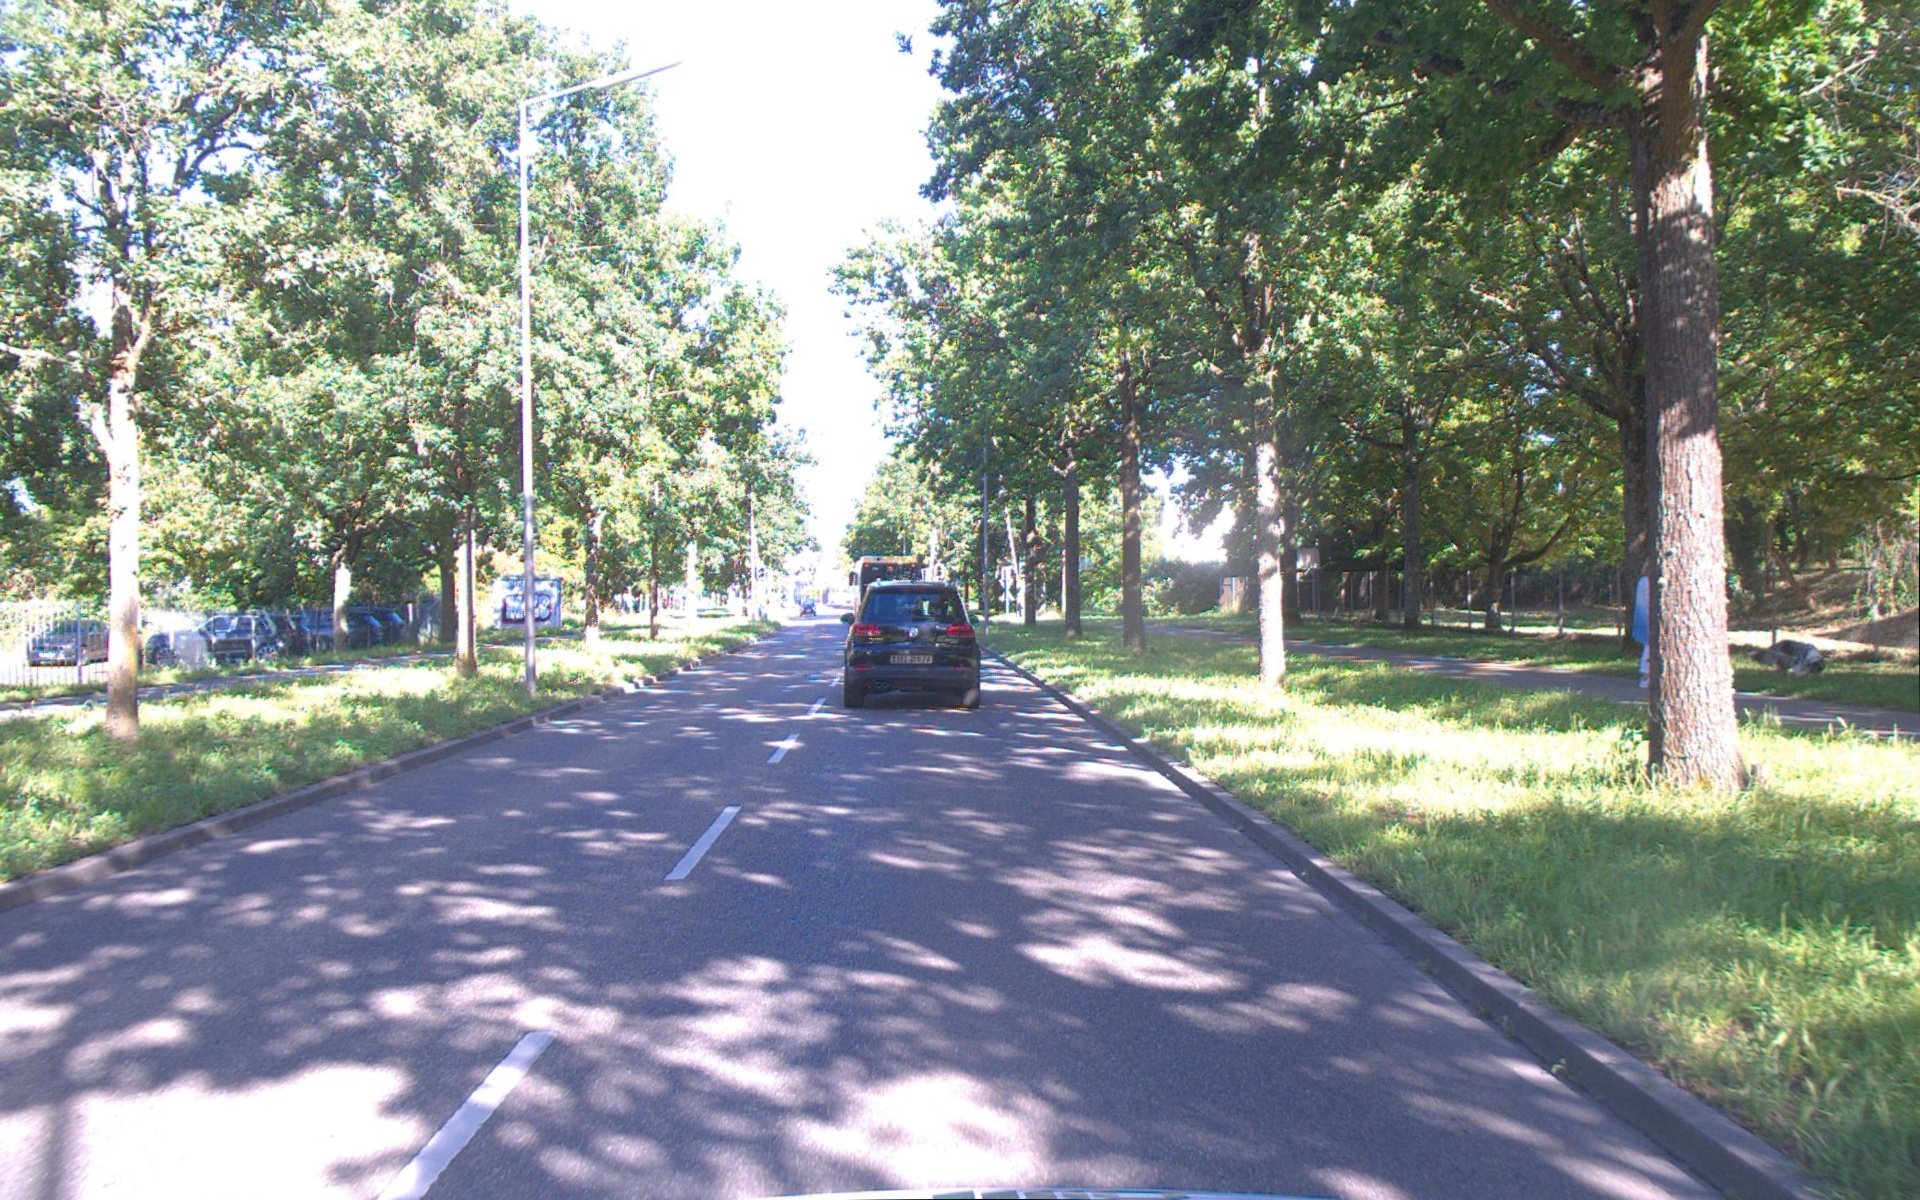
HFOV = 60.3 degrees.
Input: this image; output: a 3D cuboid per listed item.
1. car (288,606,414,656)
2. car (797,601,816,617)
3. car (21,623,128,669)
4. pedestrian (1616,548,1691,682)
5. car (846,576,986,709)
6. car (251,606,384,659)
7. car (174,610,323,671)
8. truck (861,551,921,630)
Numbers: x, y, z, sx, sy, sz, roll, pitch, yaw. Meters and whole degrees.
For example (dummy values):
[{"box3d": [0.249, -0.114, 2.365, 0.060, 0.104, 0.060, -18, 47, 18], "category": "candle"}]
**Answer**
[{"box3d": [-23.191, 1.170, 63.149, 4.110, 1.833, 1.997, 1, 0, -7], "category": "car"}, {"box3d": [-15.220, 0.908, 164.485, 1.533, 1.531, 3.999, 1, 0, -1], "category": "car"}, {"box3d": [-33.563, 1.709, 62.825, 1.956, 1.594, 4.876, 1, 0, -8], "category": "car"}, {"box3d": [8.840, 0.189, 21.076, 0.704, 1.659, 0.608, -3, 1, 35], "category": "pedestrian"}, {"box3d": [-0.664, 0.542, 23.017, 1.747, 1.662, 3.997, 1, 0, -3], "category": "car"}, {"box3d": [-23.355, 1.183, 60.285, 4.110, 1.833, 1.997, 1, 0, -7], "category": "car"}, {"box3d": [-22.543, 1.266, 52.544, 3.913, 1.833, 1.996, 1, 0, -9], "category": "car"}, {"box3d": [-3.153, -0.418, 73.996, 2.462, 3.300, 8.146, -1, 0, -3], "category": "truck"}]
